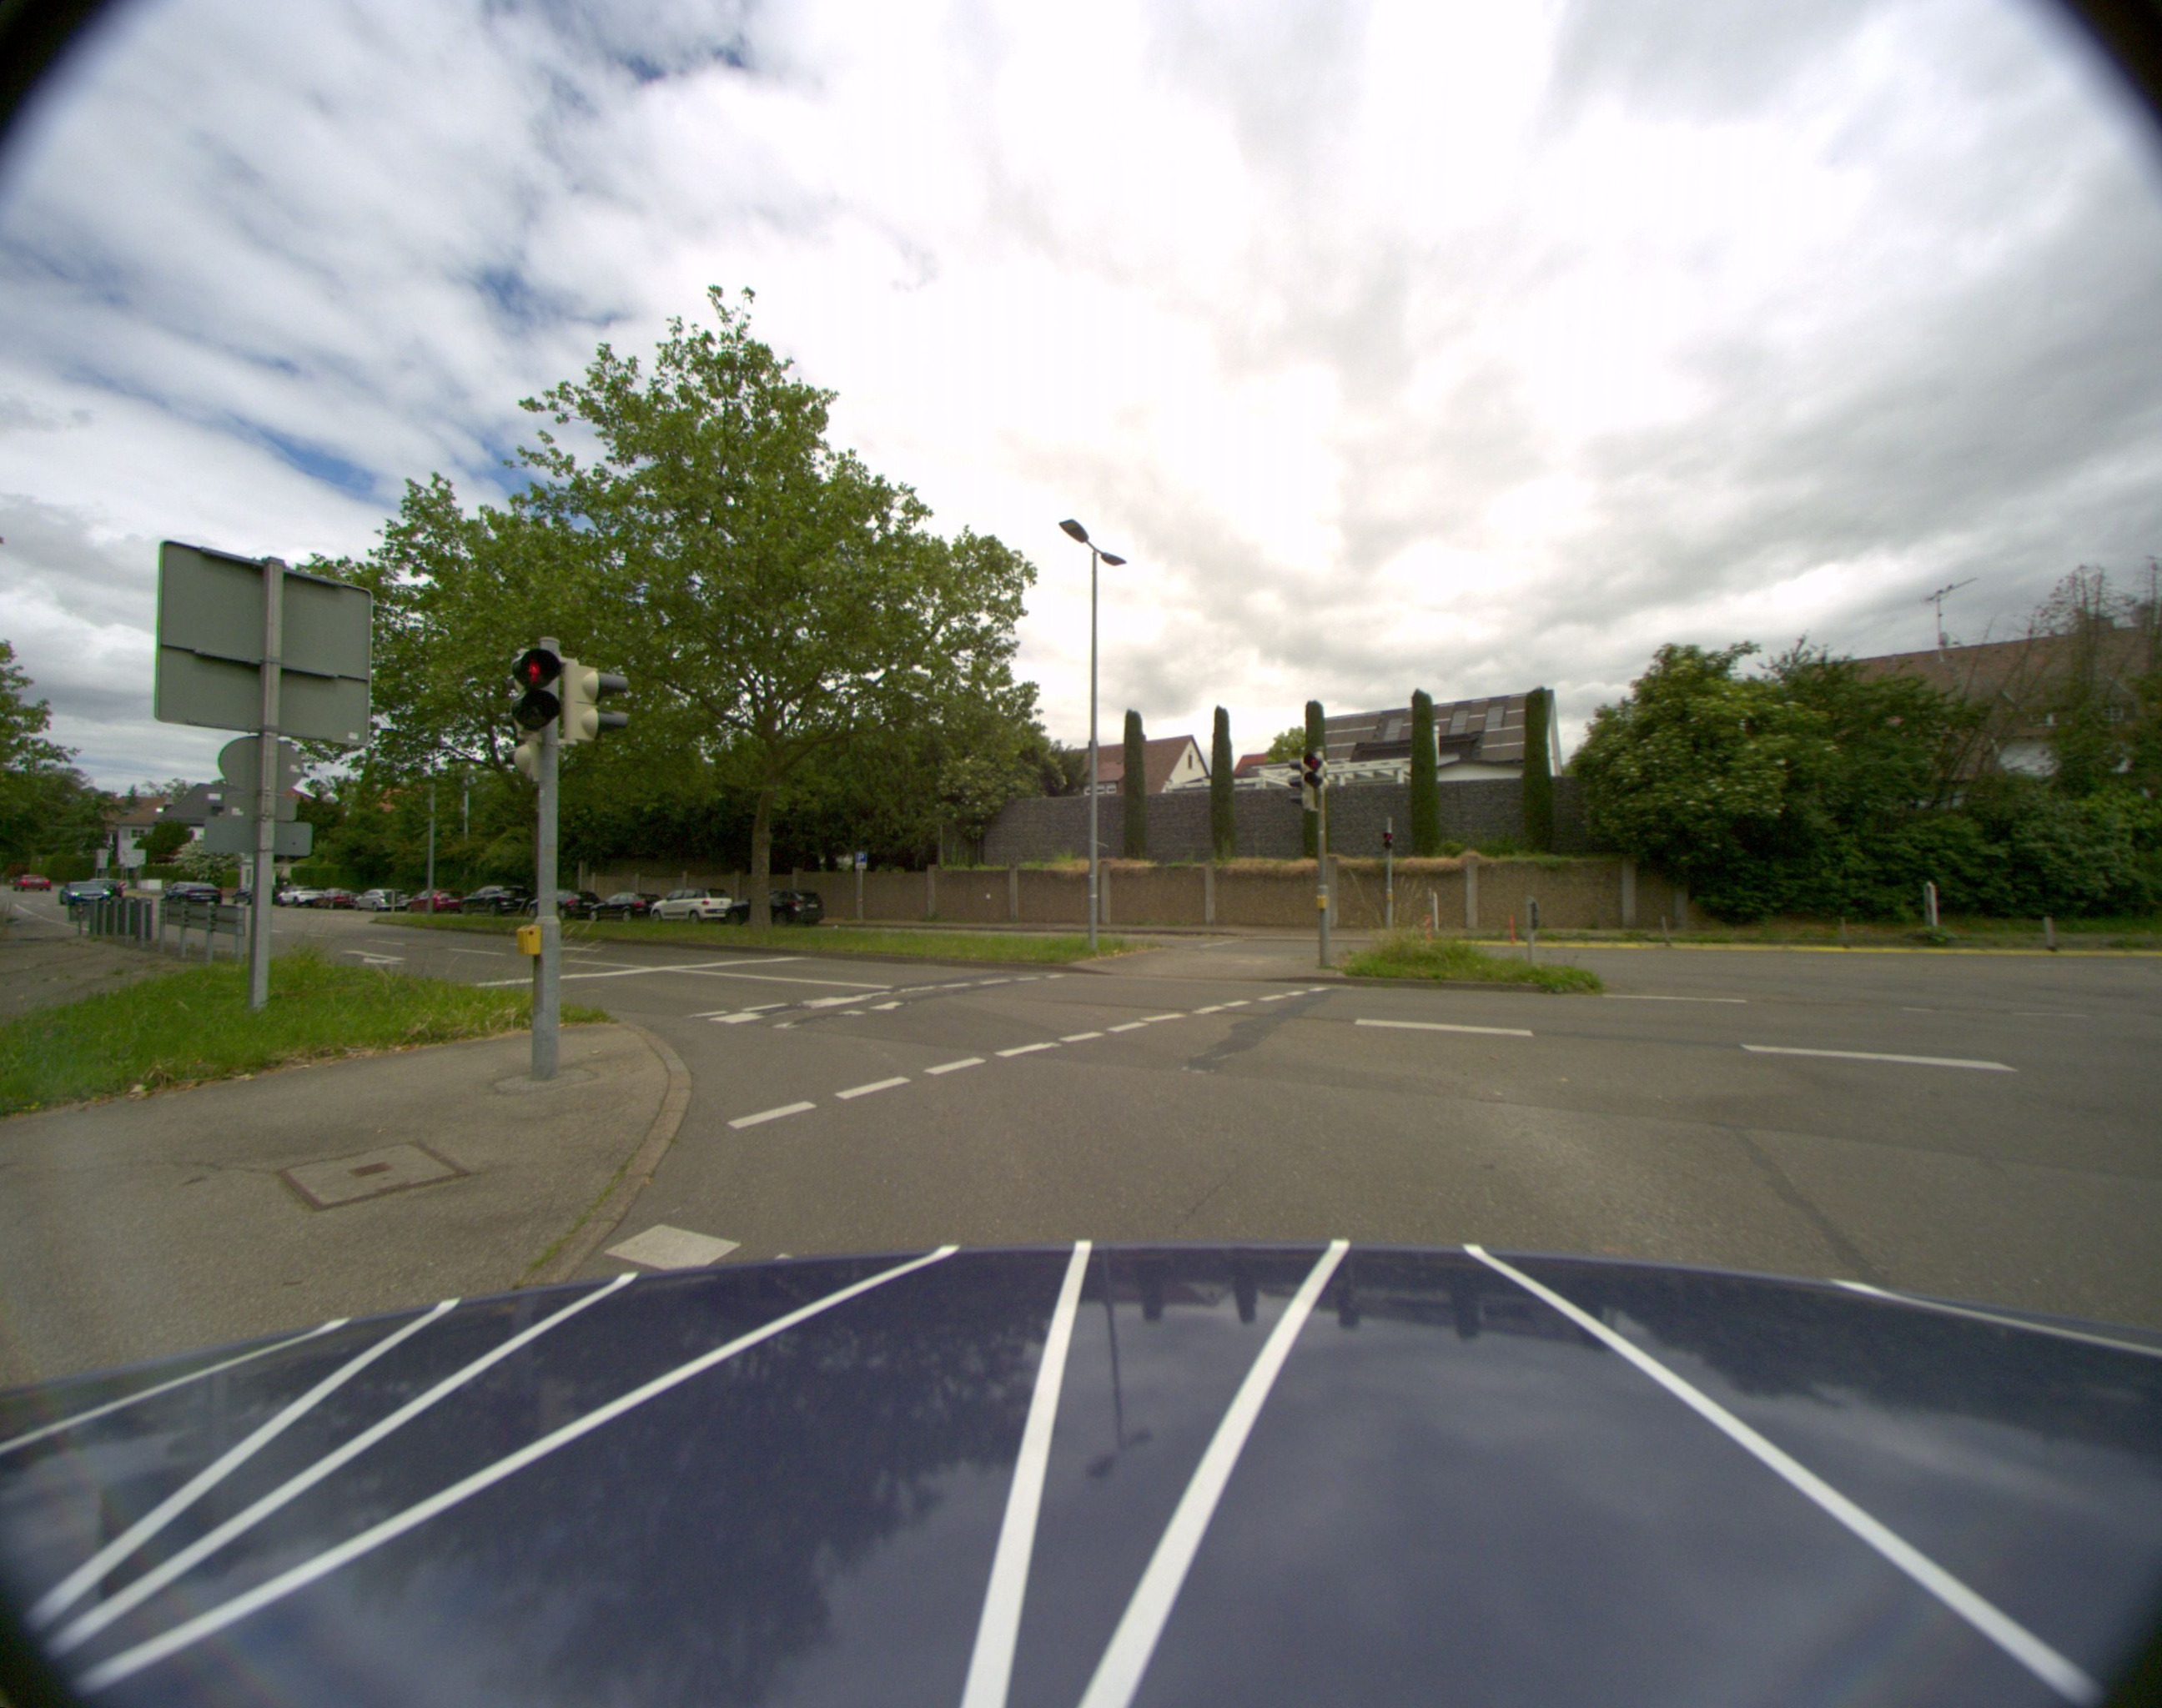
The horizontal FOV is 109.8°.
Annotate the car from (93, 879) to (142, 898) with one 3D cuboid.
[{"bbox_3d":[-81.335,2.944,64.141,3.903,1.605,1.849,-2,-4,28],"label":"car"}]

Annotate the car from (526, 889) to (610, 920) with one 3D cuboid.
[{"bbox_3d":[-26.327,2.568,38.966,4.028,1.495,1.802,-1,-4,27],"label":"car"}]

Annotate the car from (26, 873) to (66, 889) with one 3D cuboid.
[{"bbox_3d":[-102.227,2.681,75.026,3.822,1.495,1.691,-1,-4,27],"label":"car"}]

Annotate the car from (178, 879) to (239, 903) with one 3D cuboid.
[{"bbox_3d":[-61.435,2.602,53.503,4.575,1.605,1.802,-2,-4,28],"label":"car"}]

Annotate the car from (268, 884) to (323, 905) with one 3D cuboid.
[{"bbox_3d":[-57.518,3.001,55.606,3.822,1.495,1.691,-1,-4,27],"label":"car"}]

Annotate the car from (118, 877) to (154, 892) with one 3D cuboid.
[{"bbox_3d":[-89.201,2.879,71.721,3.821,1.321,1.690,-2,-1,31],"label":"car"}]

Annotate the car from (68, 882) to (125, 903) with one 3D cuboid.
[{"bbox_3d":[-71.191,2.802,54.916,4.136,1.419,1.802,-2,-4,28],"label":"car"}]

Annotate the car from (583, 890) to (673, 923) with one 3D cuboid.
[{"bbox_3d":[-21.784,2.506,36.524,4.028,1.495,1.802,-1,-4,27],"label":"car"}]

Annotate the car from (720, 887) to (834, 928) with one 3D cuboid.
[{"bbox_3d":[-12.685,2.202,31.730,4.451,1.605,1.801,-1,-4,25],"label":"car"}]

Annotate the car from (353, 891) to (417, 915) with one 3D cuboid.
[{"bbox_3d":[-43.981,3.082,47.988,3.822,1.495,1.691,-1,-4,27],"label":"car"}]

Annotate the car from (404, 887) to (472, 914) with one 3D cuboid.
[{"bbox_3d":[-38.108,2.748,45.042,3.822,1.495,1.691,-1,-4,27],"label":"car"}]

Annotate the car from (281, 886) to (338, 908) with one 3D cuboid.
[{"bbox_3d":[-54.439,3.007,53.609,3.822,1.495,1.691,-1,-4,27],"label":"car"}]

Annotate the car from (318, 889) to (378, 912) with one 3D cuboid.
[{"bbox_3d":[-48.972,3.101,50.732,3.822,1.495,1.691,-1,-4,27],"label":"car"}]

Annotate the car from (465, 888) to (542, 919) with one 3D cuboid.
[{"bbox_3d":[-31.574,2.694,41.500,4.028,1.593,1.801,-1,-2,28],"label":"car"}]

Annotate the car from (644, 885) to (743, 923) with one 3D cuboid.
[{"bbox_3d":[-17.579,2.248,34.461,4.207,1.605,1.801,-1,-4,26],"label":"car"}]
